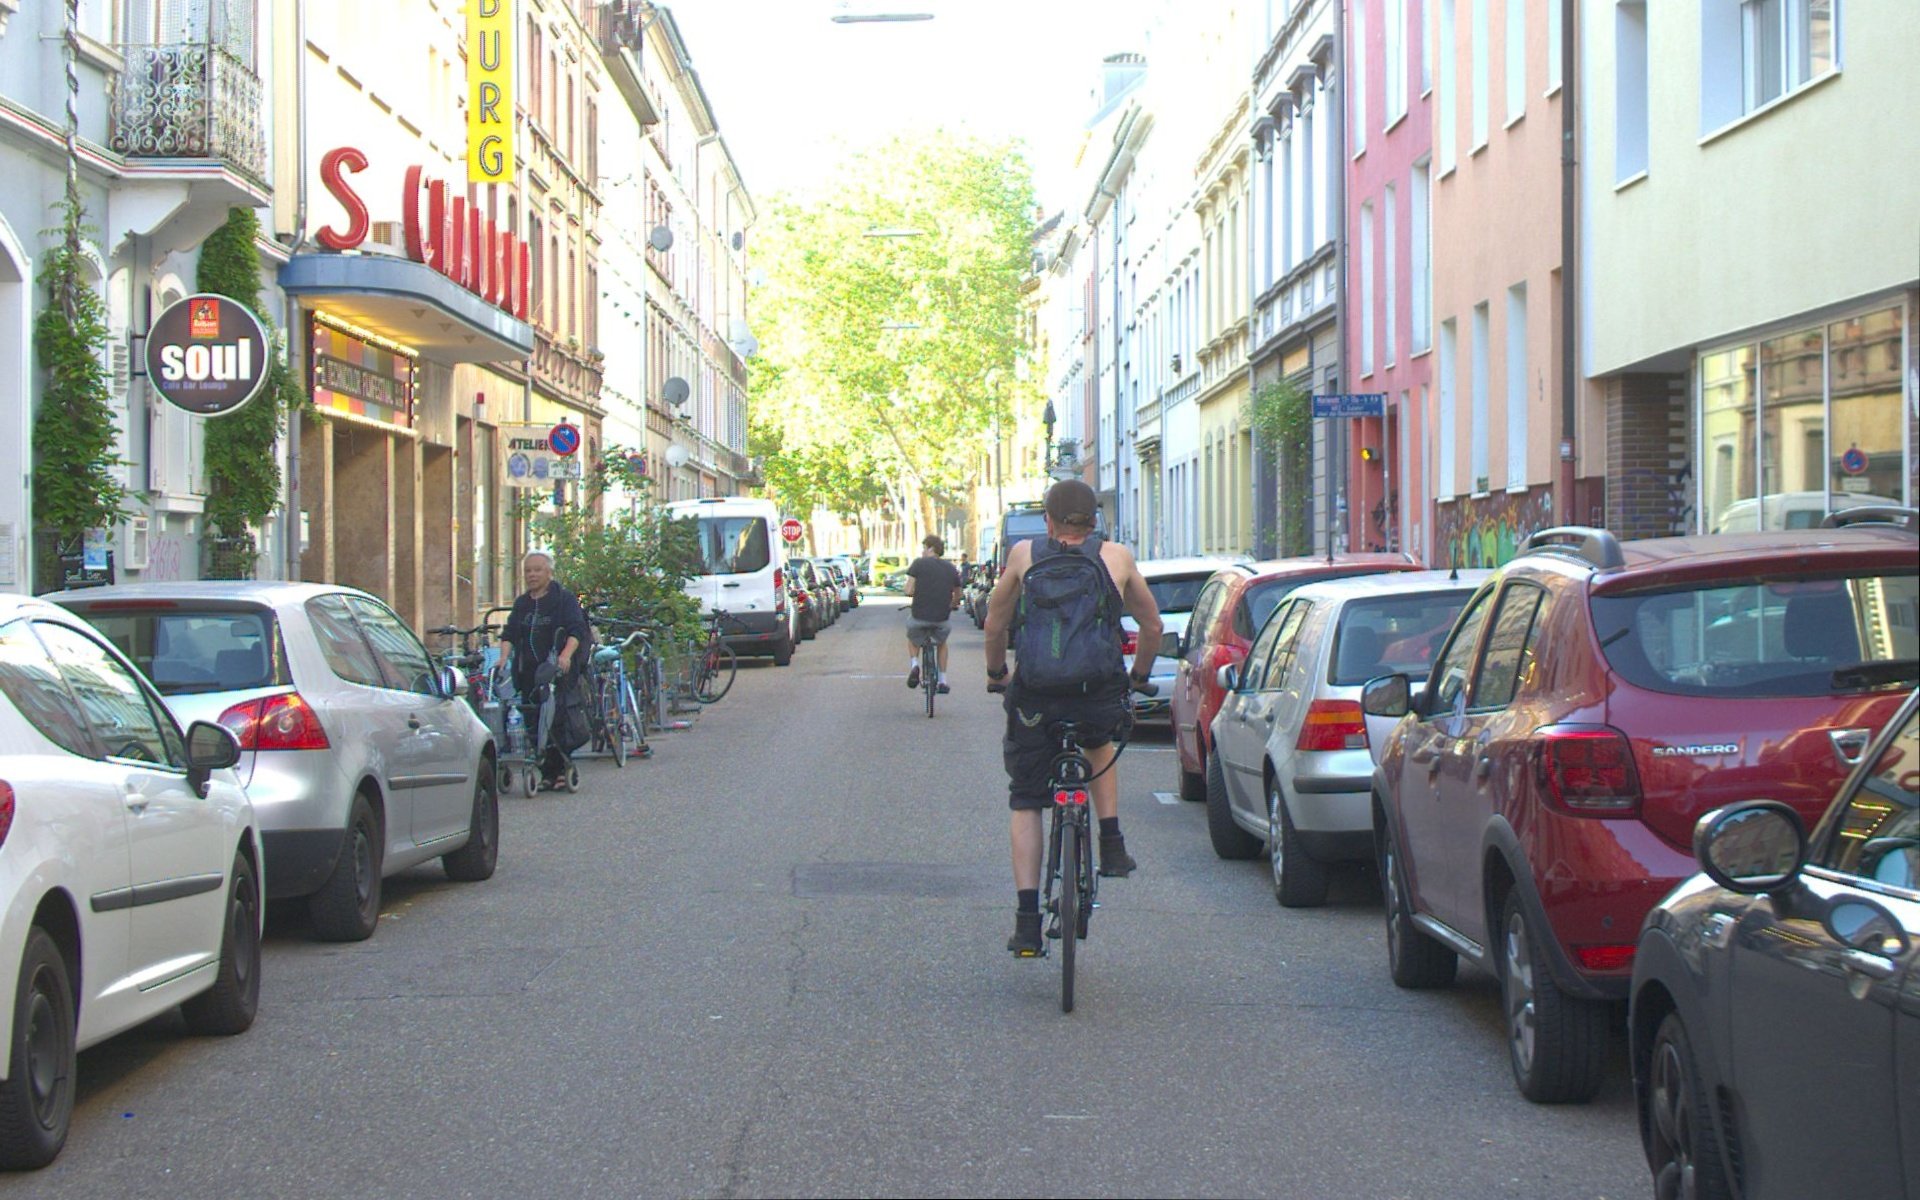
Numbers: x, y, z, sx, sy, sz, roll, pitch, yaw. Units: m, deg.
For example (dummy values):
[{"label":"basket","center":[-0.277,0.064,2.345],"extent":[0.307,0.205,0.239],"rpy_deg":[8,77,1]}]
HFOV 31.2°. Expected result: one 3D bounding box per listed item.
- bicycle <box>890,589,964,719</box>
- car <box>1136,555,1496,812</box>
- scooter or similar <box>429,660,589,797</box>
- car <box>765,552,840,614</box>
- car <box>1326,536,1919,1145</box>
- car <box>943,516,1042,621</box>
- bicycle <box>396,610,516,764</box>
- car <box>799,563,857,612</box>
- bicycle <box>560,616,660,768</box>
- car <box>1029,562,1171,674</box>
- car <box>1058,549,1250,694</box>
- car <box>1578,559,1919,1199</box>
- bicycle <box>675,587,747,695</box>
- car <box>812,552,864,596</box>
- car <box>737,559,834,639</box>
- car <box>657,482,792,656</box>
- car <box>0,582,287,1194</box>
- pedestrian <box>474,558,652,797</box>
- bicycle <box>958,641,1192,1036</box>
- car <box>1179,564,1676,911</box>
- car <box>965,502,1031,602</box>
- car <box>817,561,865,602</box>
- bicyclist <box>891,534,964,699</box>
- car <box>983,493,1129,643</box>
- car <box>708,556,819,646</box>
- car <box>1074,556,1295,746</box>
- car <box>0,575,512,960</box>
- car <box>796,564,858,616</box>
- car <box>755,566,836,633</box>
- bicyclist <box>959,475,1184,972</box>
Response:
[{"label":"bicycle","center":[-0.339,0.512,34.028],"extent":[0.702,1.204,2.342],"rpy_deg":[0,1,-1]},{"label":"car","center":[2.101,0.460,21.305],"extent":[1.710,1.378,4.000],"rpy_deg":[-2,0,-1]},{"label":"scooter or similar","center":[-3.013,0.849,22.943],"extent":[0.768,0.870,0.773],"rpy_deg":[1,0,-36]},{"label":"car","center":[-3.878,-0.423,85.105],"extent":[1.672,1.437,4.165],"rpy_deg":[-2,0,-1]},{"label":"car","center":[2.297,0.608,11.006],"extent":[1.710,1.551,4.000],"rpy_deg":[-2,0,-1]},{"label":"car","center":[0.781,-0.806,88.970],"extent":[2.307,2.529,6.770],"rpy_deg":[-2,0,-1]},{"label":"bicycle","center":[-3.932,0.658,26.976],"extent":[0.758,1.130,2.275],"rpy_deg":[1,0,-4]},{"label":"car","center":[-4.132,-0.395,107.864],"extent":[1.672,1.437,4.165],"rpy_deg":[-2,0,-1]},{"label":"bicycle","center":[-2.719,0.693,26.872],"extent":[0.699,1.102,2.275],"rpy_deg":[1,0,-4]},{"label":"car","center":[1.921,0.232,48.051],"extent":[1.710,1.442,4.000],"rpy_deg":[-2,0,-1]},{"label":"car","center":[2.004,0.209,36.501],"extent":[1.710,1.389,4.000],"rpy_deg":[-2,0,-1]},{"label":"car","center":[2.279,0.672,5.320],"extent":[1.817,1.516,4.000],"rpy_deg":[-2,0,-1]},{"label":"bicycle","center":[-2.812,0.447,38.719],"extent":[0.758,1.159,2.275],"rpy_deg":[1,0,-4]},{"label":"car","center":[-4.252,-0.900,120.438],"extent":[1.672,1.437,4.165],"rpy_deg":[-2,0,-1]},{"label":"car","center":[-3.345,-0.025,66.546],"extent":[1.672,1.437,4.165],"rpy_deg":[-2,0,-1]},{"label":"car","center":[-3.527,-0.477,52.098],"extent":[1.909,2.488,4.166],"rpy_deg":[-1,1,-3]},{"label":"car","center":[-3.139,0.700,9.857],"extent":[1.672,1.437,3.768],"rpy_deg":[-2,0,-1]},{"label":"pedestrian","center":[-2.678,0.510,23.189],"extent":[0.897,1.573,0.773],"rpy_deg":[1,0,-36]},{"label":"bicycle","center":[0.366,0.772,12.089],"extent":[0.702,1.204,2.342],"rpy_deg":[1,0,-1]},{"label":"car","center":[2.079,0.565,16.342],"extent":[1.710,1.378,4.000],"rpy_deg":[-2,0,-1]},{"label":"car","center":[1.472,-1.879,136.352],"extent":[2.307,3.755,6.770],"rpy_deg":[-2,0,-1]},{"label":"car","center":[-4.407,-0.696,127.800],"extent":[1.672,1.437,4.165],"rpy_deg":[-2,0,-1]},{"label":"bicyclist","center":[-0.325,0.150,33.982],"extent":[0.702,1.599,0.813],"rpy_deg":[0,2,-1]},{"label":"car","center":[1.700,-0.577,63.524],"extent":[2.307,2.529,6.770],"rpy_deg":[-2,0,-1]},{"label":"car","center":[-3.344,0.004,59.044],"extent":[1.672,1.437,4.165],"rpy_deg":[-2,0,-1]},{"label":"car","center":[1.967,0.419,31.048],"extent":[1.620,1.545,4.000],"rpy_deg":[-2,0,-1]},{"label":"car","center":[-3.145,0.642,15.165],"extent":[1.672,1.437,3.753],"rpy_deg":[-2,0,2]},{"label":"car","center":[-3.876,-0.301,100.640],"extent":[1.672,1.437,4.165],"rpy_deg":[-2,0,-1]},{"label":"car","center":[-3.762,-0.011,79.083],"extent":[1.672,1.437,4.165],"rpy_deg":[-2,0,-1]},{"label":"bicyclist","center":[0.367,0.405,11.878],"extent":[0.702,1.628,1.090],"rpy_deg":[1,0,-1]}]
